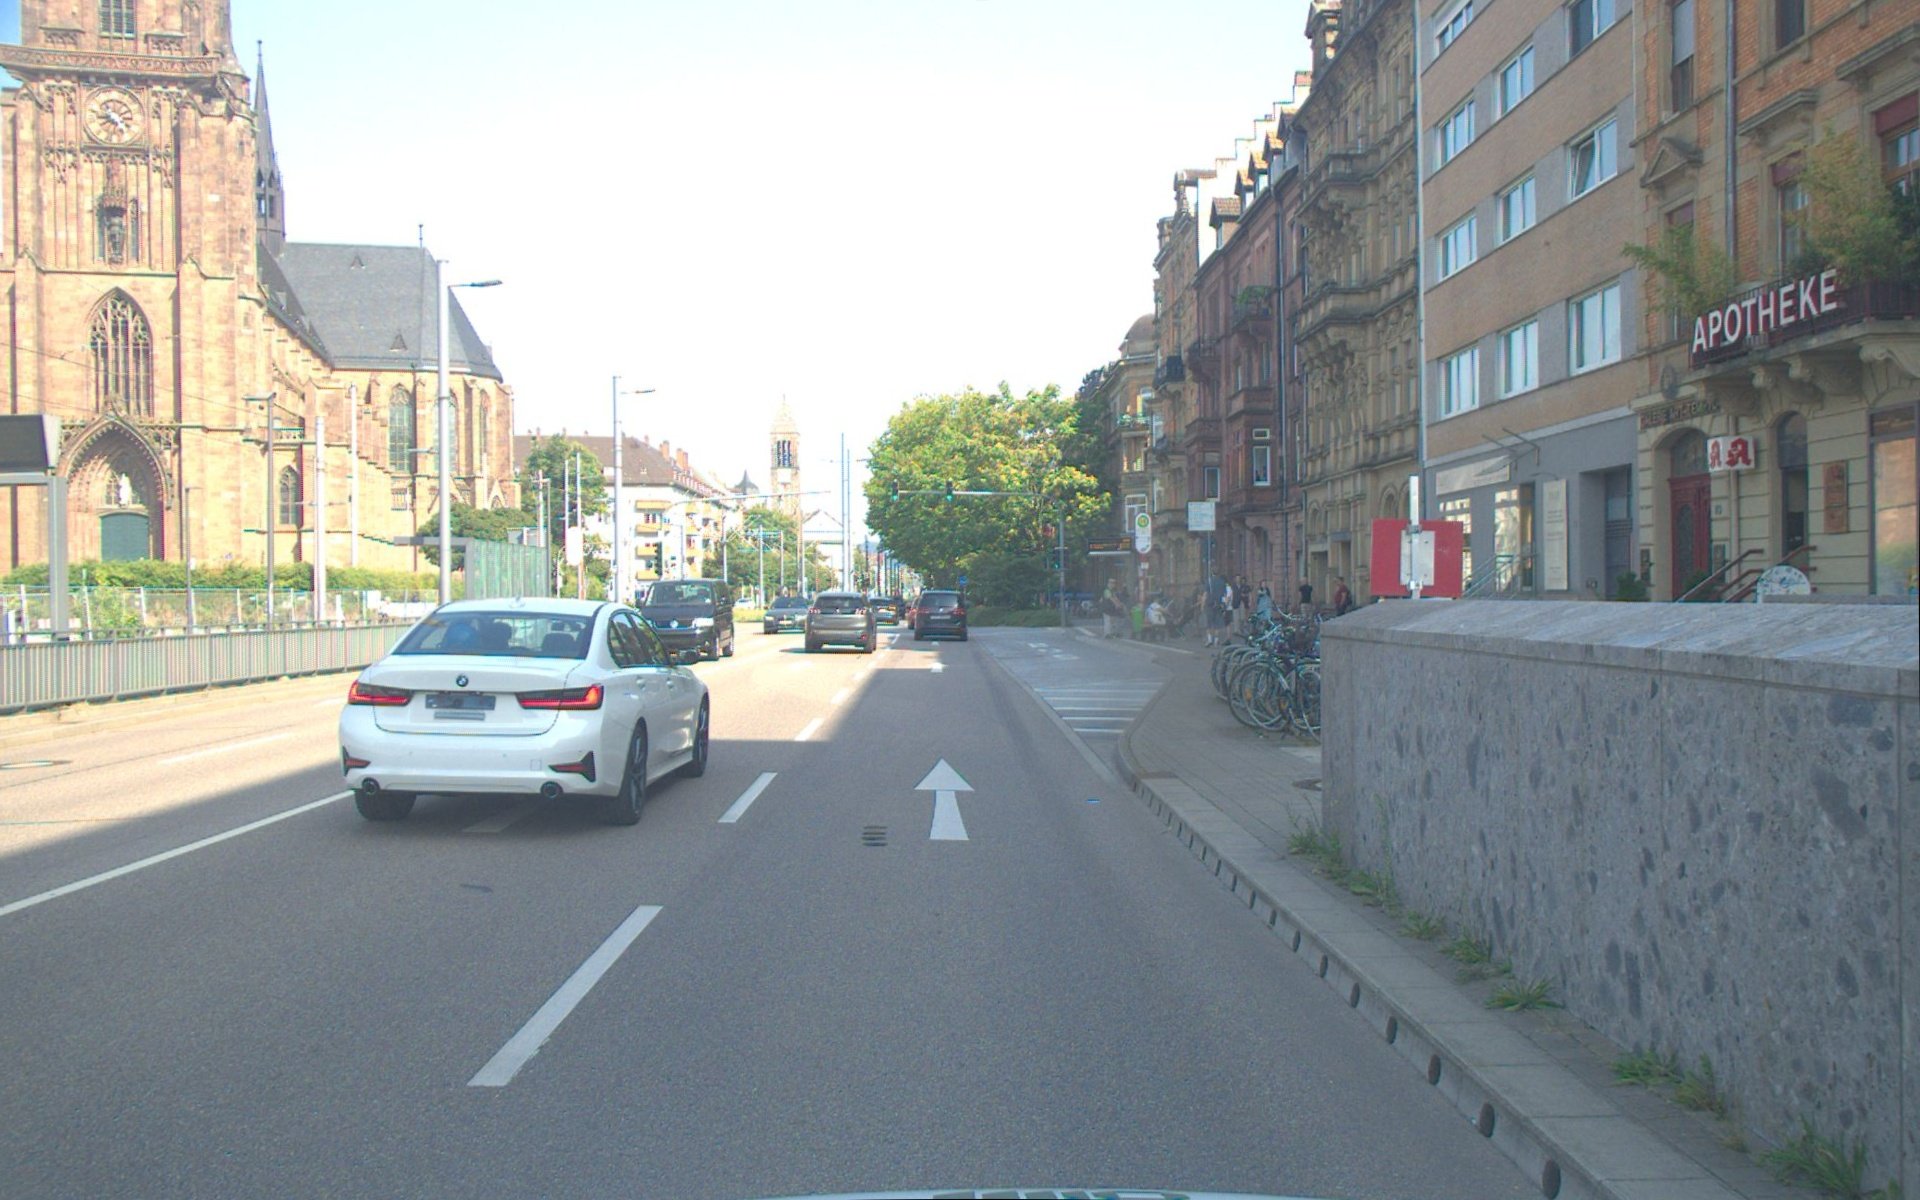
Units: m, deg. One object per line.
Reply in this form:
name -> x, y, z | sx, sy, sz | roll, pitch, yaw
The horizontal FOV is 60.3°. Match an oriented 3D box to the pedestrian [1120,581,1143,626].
pedestrian -> 4.990, 0.104, 48.169 | 0.554, 1.300, 0.596 | -1, 0, -5

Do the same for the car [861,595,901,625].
car -> -3.999, 0.508, 84.392 | 1.826, 1.449, 4.356 | 1, 0, -1

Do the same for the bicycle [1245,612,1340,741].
bicycle -> 3.223, 0.714, 16.142 | 0.399, 1.168, 1.654 | -1, 0, -6

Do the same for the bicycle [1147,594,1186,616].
bicycle -> 10.321, 0.263, 82.719 | 1.891, 1.066, 0.499 | -1, 0, -7

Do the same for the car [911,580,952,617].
car -> -1.292, -0.086, 75.453 | 1.794, 1.649, 4.356 | 1, 0, -1

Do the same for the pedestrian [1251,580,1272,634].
pedestrian -> 9.299, 0.217, 51.004 | 0.476, 1.638, 0.812 | -1, 0, 0

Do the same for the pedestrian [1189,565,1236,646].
pedestrian -> 5.910, 0.135, 38.748 | 0.907, 1.863, 0.800 | -1, 0, -4

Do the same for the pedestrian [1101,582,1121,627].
pedestrian -> 5.711, 0.172, 62.704 | 0.676, 1.693, 0.619 | -1, 0, -1

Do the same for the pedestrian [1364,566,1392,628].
pedestrian -> 11.770, -0.088, 46.584 | 0.591, 1.721, 0.586 | -1, 0, -4

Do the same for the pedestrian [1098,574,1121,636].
pedestrian -> 4.352, 0.141, 48.217 | 0.554, 1.759, 0.745 | -1, 0, -4

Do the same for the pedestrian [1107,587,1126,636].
pedestrian -> 5.241, 0.380, 55.449 | 0.517, 1.640, 0.702 | -1, 0, -4

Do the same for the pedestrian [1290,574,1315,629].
pedestrian -> 10.970, 0.040, 52.962 | 0.616, 1.749, 0.690 | -1, 0, -1

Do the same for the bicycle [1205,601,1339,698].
bicycle -> 3.924, 0.619, 20.835 | 1.601, 1.168, 0.385 | -1, 0, -6

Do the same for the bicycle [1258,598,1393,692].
bicycle -> 4.724, 0.573, 21.428 | 1.599, 1.168, 0.601 | -1, 0, 1

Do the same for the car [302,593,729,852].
car -> -2.937, 0.706, 12.074 | 1.772, 1.452, 4.774 | 1, 0, 0

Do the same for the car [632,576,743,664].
car -> -6.543, 0.444, 40.198 | 1.953, 1.937, 4.715 | -2, 0, -1

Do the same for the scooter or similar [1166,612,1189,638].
scooter or similar -> 6.323, 0.722, 48.037 | 0.554, 0.754, 0.514 | -1, 0, -4

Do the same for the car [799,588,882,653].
car -> -3.199, 0.513, 45.076 | 1.953, 1.649, 4.356 | 1, 0, -1

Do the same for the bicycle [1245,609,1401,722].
bicycle -> 3.922, 0.698, 17.887 | 1.601, 1.168, 0.385 | -1, 0, -6

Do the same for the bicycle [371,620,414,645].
bicycle -> -23.321, 1.329, 67.920 | 1.721, 0.995, 0.479 | -1, 0, 18

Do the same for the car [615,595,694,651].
car -> -9.574, 0.681, 52.080 | 1.678, 1.639, 4.504 | -2, 0, -1

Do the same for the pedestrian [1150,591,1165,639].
pedestrian -> 5.374, 0.412, 44.988 | 0.270, 1.296, 0.447 | -1, 0, -8

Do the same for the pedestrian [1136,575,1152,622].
pedestrian -> 6.899, -0.048, 62.047 | 0.471, 1.731, 0.702 | -1, 0, -4

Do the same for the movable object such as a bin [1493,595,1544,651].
movable object such as a bin -> 11.346, 0.463, 33.637 | 0.725, 1.099, 0.666 | -1, 0, -18

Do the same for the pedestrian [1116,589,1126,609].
pedestrian -> 10.253, -0.078, 105.455 | 0.585, 1.270, 0.506 | -1, 0, -2

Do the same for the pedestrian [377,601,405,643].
pedestrian -> -23.354, 0.910, 67.924 | 0.897, 1.709, 0.602 | -1, 0, 18

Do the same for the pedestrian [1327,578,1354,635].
pedestrian -> 11.354, 0.184, 49.363 | 0.591, 1.683, 0.586 | -1, 0, -4

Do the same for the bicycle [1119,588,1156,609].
bicycle -> 9.489, -0.094, 88.292 | 1.891, 1.066, 0.526 | -1, 0, -7

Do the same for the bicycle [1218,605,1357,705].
bicycle -> 3.984, 0.660, 20.156 | 1.601, 1.168, 0.385 | -1, 0, -6

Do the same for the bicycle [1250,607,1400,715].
bicycle -> 4.104, 0.679, 18.628 | 1.601, 1.168, 0.385 | -1, 0, -6

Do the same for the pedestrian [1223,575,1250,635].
pedestrian -> 8.502, 0.145, 50.887 | 0.604, 1.835, 1.071 | -1, 0, 0

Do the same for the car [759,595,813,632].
car -> -6.836, 0.505, 65.409 | 1.678, 1.354, 4.520 | -2, 0, -1

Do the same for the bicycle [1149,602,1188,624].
bicycle -> 10.533, 0.631, 83.497 | 1.891, 1.066, 0.499 | -1, 0, -7

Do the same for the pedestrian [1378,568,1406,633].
pedestrian -> 11.889, 0.012, 45.511 | 0.591, 1.761, 0.510 | -1, 0, -4

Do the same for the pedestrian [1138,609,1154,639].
pedestrian -> 5.190, 0.661, 46.243 | 0.297, 0.834, 0.603 | -1, 0, -8

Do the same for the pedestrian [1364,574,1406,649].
pedestrian -> 9.460, 0.246, 36.814 | 0.705, 1.638, 0.856 | -1, 0, 0

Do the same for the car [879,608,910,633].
car -> -4.125, 1.275, 104.899 | 1.826, 1.449, 4.356 | 1, 0, -1

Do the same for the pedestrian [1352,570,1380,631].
pedestrian -> 11.617, 0.008, 47.309 | 0.591, 1.721, 0.586 | -1, 0, -4

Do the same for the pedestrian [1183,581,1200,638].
pedestrian -> 7.171, 0.284, 51.197 | 0.334, 1.763, 0.805 | -1, 0, -4

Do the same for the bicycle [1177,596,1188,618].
bicycle -> 10.914, 0.328, 81.093 | 0.408, 1.066, 1.671 | -1, 0, 4

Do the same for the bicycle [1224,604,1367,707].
bicycle -> 3.970, 0.653, 19.572 | 1.601, 1.168, 0.385 | -1, 0, -6

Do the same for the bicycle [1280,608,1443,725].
bicycle -> 4.195, 0.687, 17.305 | 1.601, 1.168, 0.385 | -1, 0, -6

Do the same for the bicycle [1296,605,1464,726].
bicycle -> 4.250, 0.655, 16.757 | 1.601, 1.168, 0.385 | -1, 0, -6

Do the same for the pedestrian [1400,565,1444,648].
pedestrian -> 10.269, 0.148, 36.791 | 0.705, 1.818, 0.856 | -1, 0, 0

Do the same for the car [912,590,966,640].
car -> -0.729, 0.501, 57.771 | 1.794, 1.649, 4.356 | 1, 0, -1

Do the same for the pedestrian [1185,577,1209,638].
pedestrian -> 6.892, 0.212, 48.086 | 0.554, 1.759, 0.617 | -1, 0, -4

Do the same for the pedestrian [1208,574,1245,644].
pedestrian -> 6.787, 0.235, 42.155 | 0.735, 1.759, 0.800 | -1, 0, -4

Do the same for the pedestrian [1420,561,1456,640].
pedestrian -> 11.415, 0.008, 39.498 | 0.591, 1.863, 0.742 | -1, 0, -4
